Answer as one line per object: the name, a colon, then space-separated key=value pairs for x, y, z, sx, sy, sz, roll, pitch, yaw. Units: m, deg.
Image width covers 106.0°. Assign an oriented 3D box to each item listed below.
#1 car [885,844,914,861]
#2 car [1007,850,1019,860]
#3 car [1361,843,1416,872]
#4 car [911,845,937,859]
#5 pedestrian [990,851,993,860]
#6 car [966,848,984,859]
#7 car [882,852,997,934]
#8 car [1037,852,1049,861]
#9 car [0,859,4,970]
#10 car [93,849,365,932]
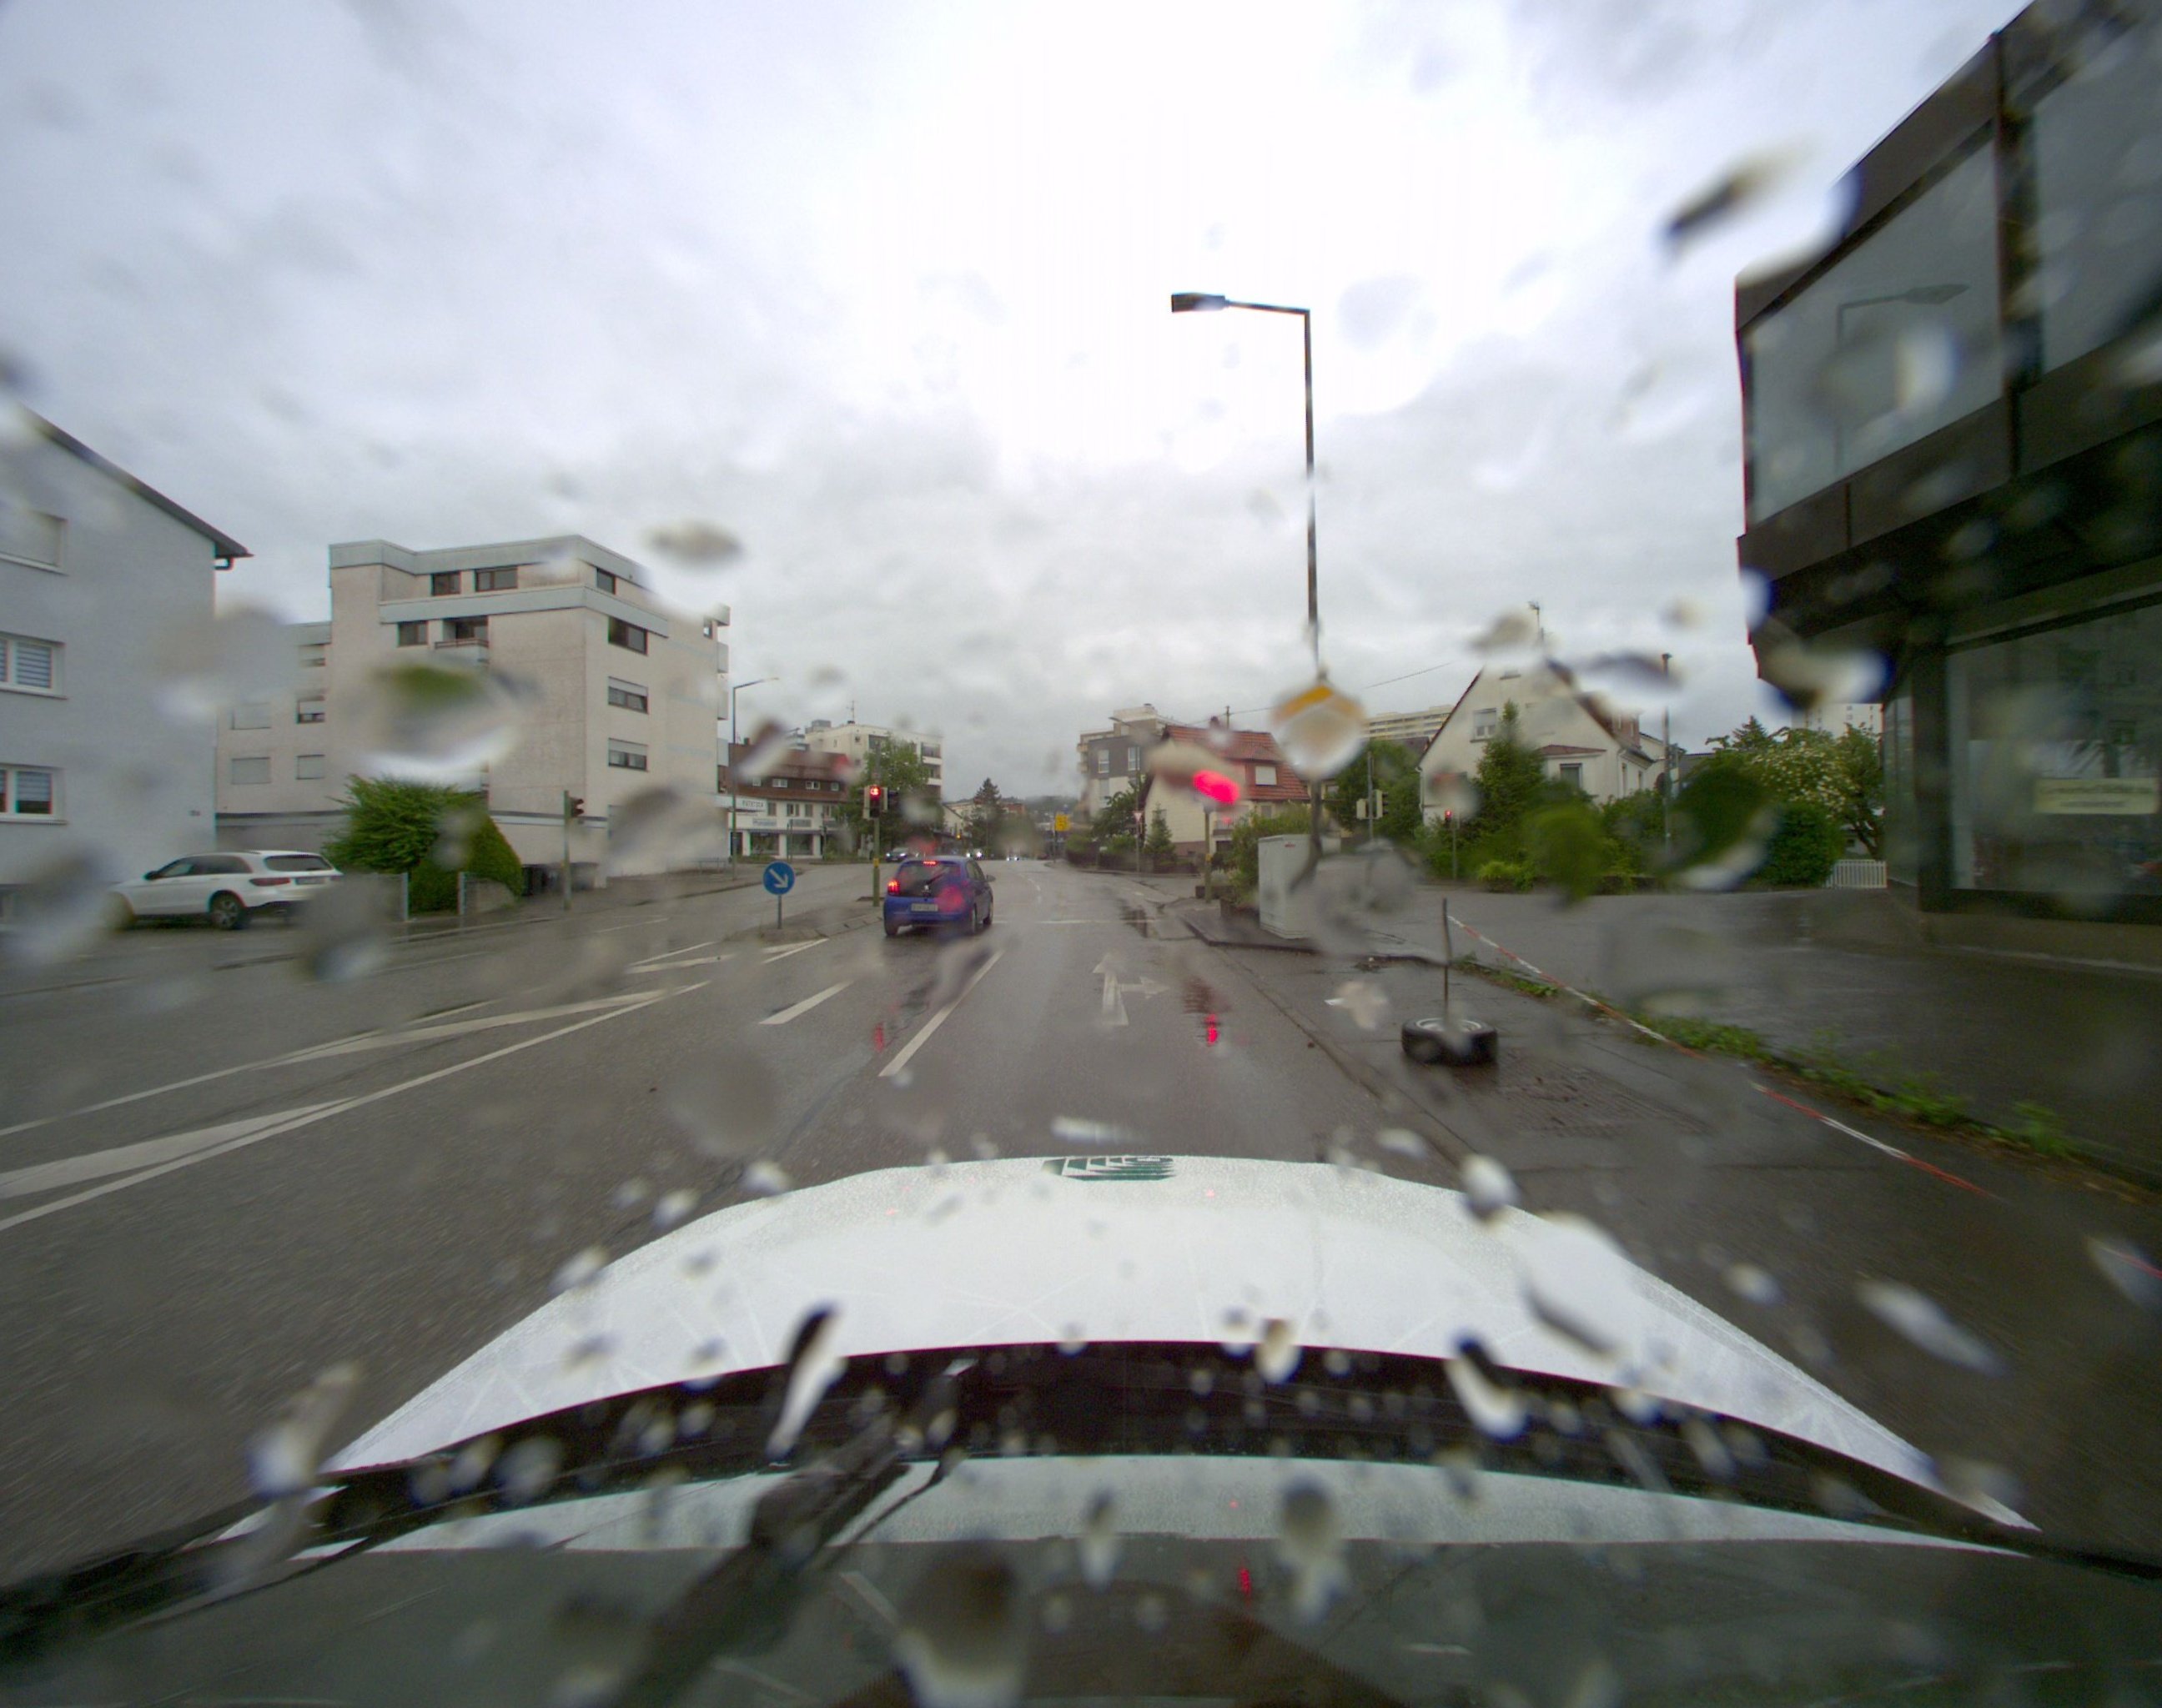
car: x=-16.419 y=-0.153 z=73.833 sx=1.772 sy=1.420 sz=3.831 roll=-1 pitch=1 yaw=1
car: x=-13.261 y=0.235 z=158.706 sx=1.749 sy=1.815 sz=3.863 roll=-1 pitch=1 yaw=2
car: x=17.015 y=0.172 z=44.930 sx=1.723 sy=1.514 sz=4.026 roll=0 pitch=1 yaw=38
car: x=-15.618 y=-0.232 z=81.064 sx=1.709 sy=1.387 sz=4.021 roll=-1 pitch=1 yaw=1
pedestrian: x=-17.289 y=0.273 z=157.437 sx=0.492 sy=1.658 sz=0.437 roll=0 pitch=1 yaw=42
car: x=-14.010 y=-0.081 z=107.372 sx=1.772 sy=1.420 sz=3.831 roll=-1 pitch=1 yaw=1
car: x=-2.635 y=0.678 z=15.844 sx=1.573 sy=1.410 sz=3.271 roll=0 pitch=1 yaw=1
car: x=-6.971 y=0.409 z=150.767 sx=1.806 sy=1.486 sz=4.191 roll=-2 pitch=1 yaw=2
car: x=-16.657 y=0.863 z=10.192 sx=4.197 sy=1.473 sz=1.908 roll=-1 pitch=1 yaw=6
car: x=-18.491 y=0.765 z=17.757 sx=4.422 sy=1.636 sz=1.945 roll=-1 pitch=1 yaw=11
